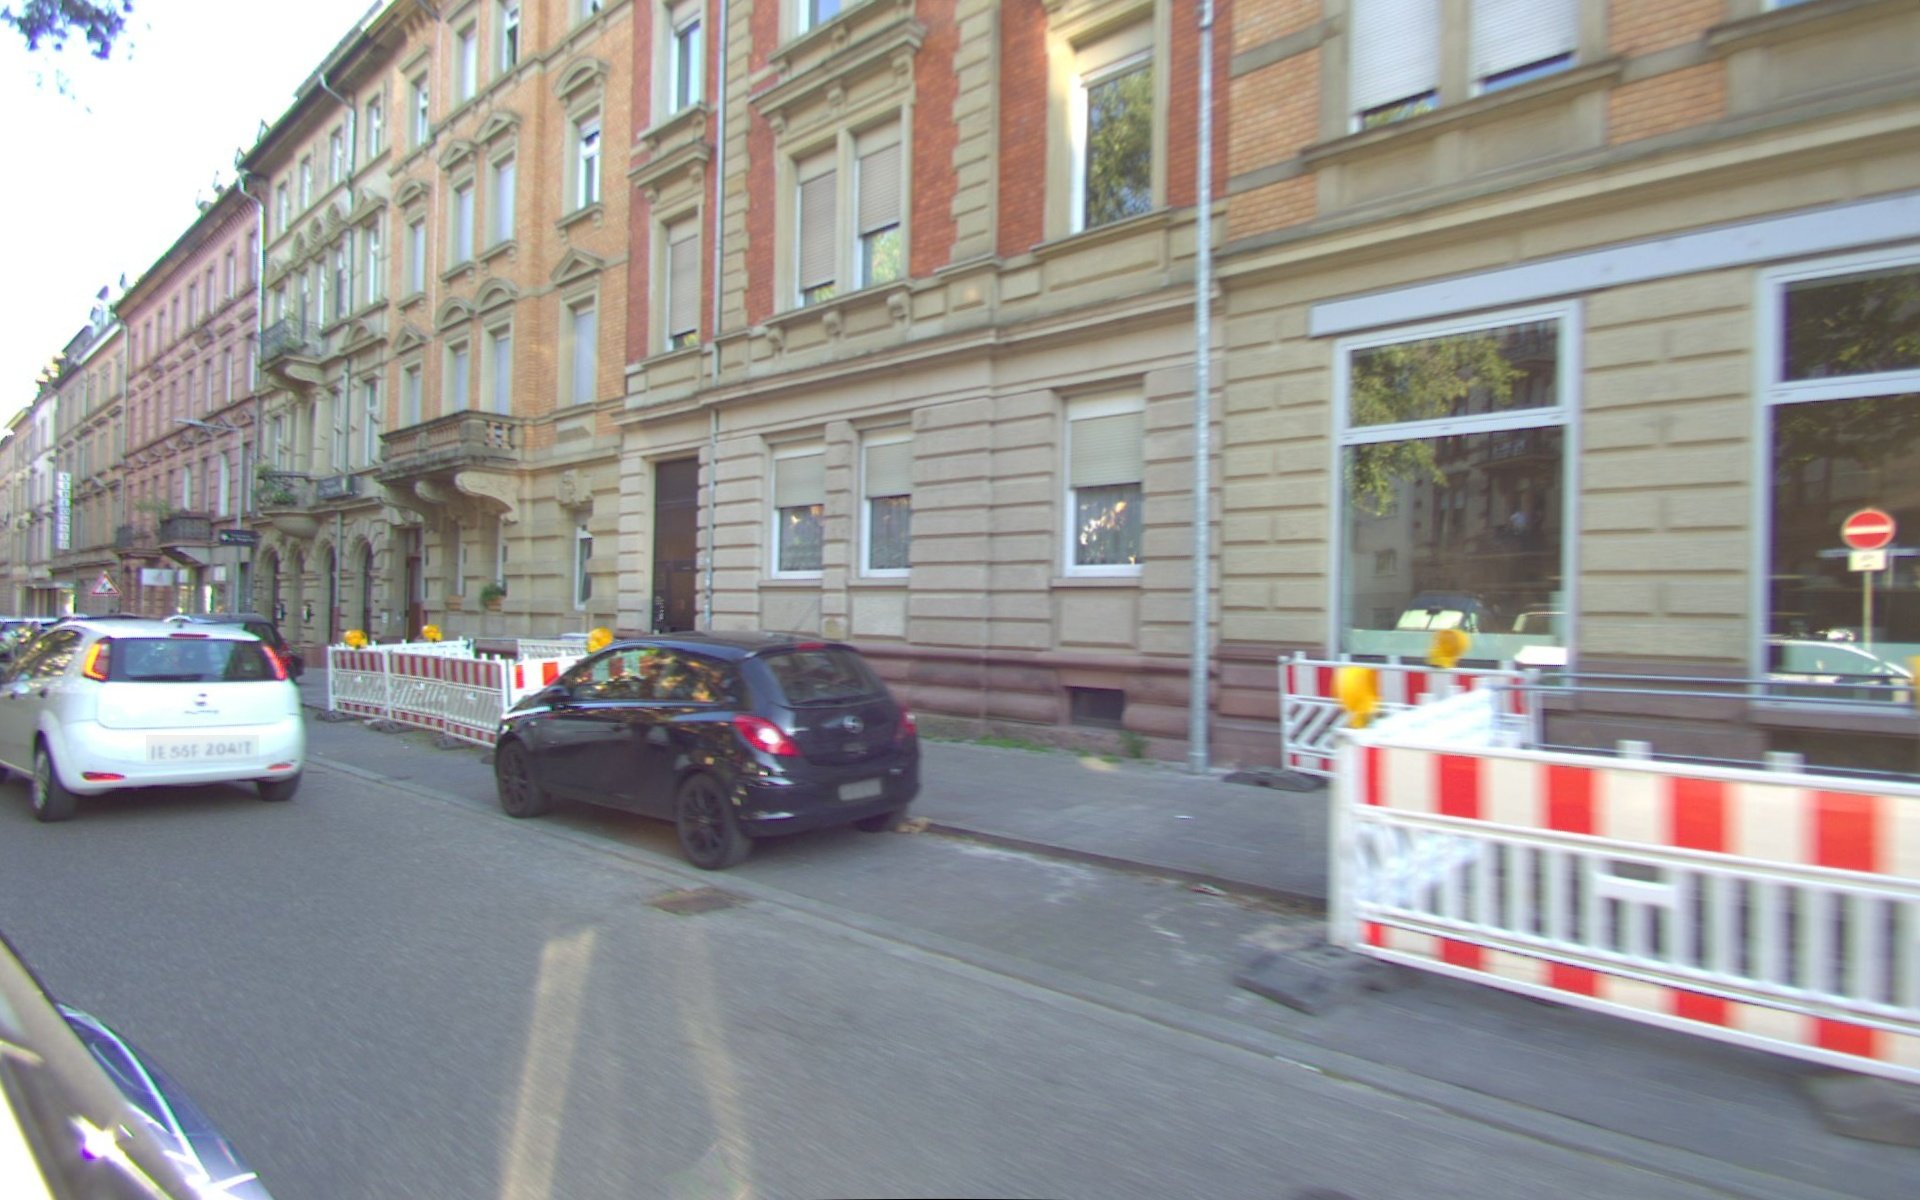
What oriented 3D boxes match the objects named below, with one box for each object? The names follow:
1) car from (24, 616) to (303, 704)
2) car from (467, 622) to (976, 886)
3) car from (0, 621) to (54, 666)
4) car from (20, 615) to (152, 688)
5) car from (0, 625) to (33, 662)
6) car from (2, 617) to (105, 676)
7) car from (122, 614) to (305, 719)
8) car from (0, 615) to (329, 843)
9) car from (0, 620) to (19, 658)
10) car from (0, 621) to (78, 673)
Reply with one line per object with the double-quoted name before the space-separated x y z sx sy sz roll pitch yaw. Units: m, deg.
"car" -15.535 1.129 19.936 1.822 1.541 3.952 -1 -3 35
"car" -1.962 0.915 7.652 4.017 1.465 1.686 -1 -2 40
"car" -32.598 1.467 34.798 3.958 1.450 1.687 -1 -3 42
"car" -21.349 1.195 24.689 4.043 1.586 1.632 -1 0 37
"car" -36.117 1.591 37.876 4.100 1.333 1.687 -1 -3 42
"car" -25.155 1.232 28.043 3.998 1.484 1.630 -1 0 41
"car" -12.743 1.059 17.197 3.894 1.579 1.723 -1 -2 42
"car" -7.185 0.906 8.704 3.995 1.521 1.732 -1 -2 39
"car" -39.763 1.571 41.114 4.421 1.488 1.802 -1 -1 41
"car" -28.652 1.416 31.256 3.998 1.484 1.565 -1 -3 41
